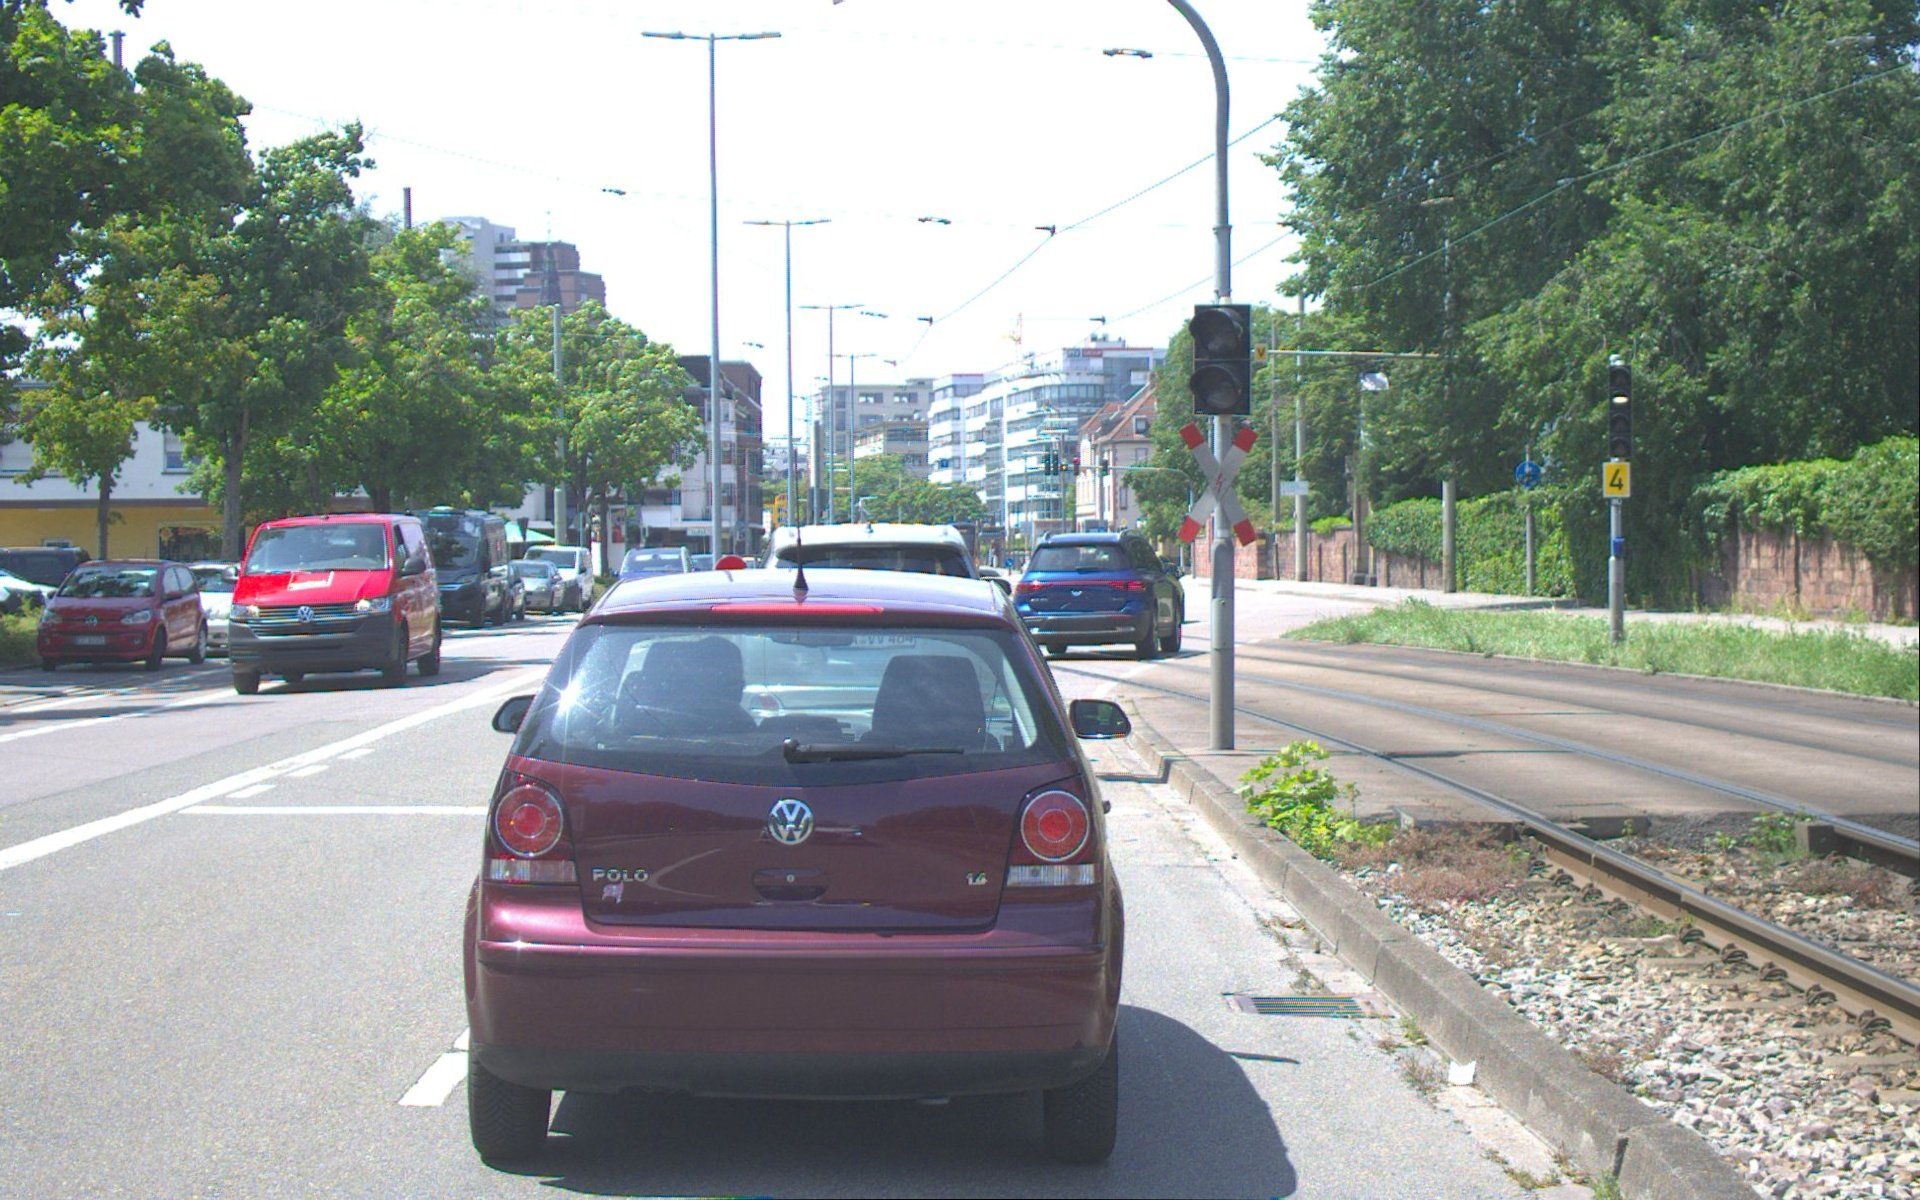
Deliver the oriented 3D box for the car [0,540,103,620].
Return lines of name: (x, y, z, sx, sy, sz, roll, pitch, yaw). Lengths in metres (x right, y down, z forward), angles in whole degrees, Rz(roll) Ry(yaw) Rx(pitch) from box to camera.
car: (-22.529, -0.455, 80.010, 4.718, 1.807, 1.797, -1, 1, -2)

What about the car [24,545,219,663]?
car: (-11.411, 0.035, 47.000, 1.672, 1.541, 3.727, 1, 0, 2)

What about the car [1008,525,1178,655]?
car: (1.809, -0.162, 45.563, 1.775, 1.625, 3.999, 1, 1, 9)

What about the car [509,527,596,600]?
car: (-11.783, -1.076, 99.726, 1.875, 1.958, 5.165, 3, 1, -1)

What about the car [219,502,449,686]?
car: (-7.102, -0.109, 39.464, 1.898, 1.919, 4.820, -2, 1, -2)

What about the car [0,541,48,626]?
car: (-22.379, -0.327, 74.580, 4.718, 1.807, 1.797, -1, 1, -2)

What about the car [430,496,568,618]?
car: (-10.812, -1.033, 81.092, 2.398, 2.647, 6.173, 3, 1, -1)

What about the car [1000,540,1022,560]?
car: (3.261, -3.192, 219.739, 1.354, 1.248, 2.972, 0, 1, 0)

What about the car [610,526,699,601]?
car: (-7.115, -0.871, 80.380, 1.737, 1.651, 4.067, -2, 1, -1)

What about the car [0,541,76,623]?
car: (-22.429, -0.389, 77.144, 4.718, 1.807, 1.797, -1, 1, -2)

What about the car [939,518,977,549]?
car: (-0.160, -4.172, 216.856, 1.918, 1.904, 4.572, -1, 1, -6)

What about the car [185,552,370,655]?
car: (-10.461, 0.018, 53.017, 1.719, 1.422, 4.771, -2, 1, 2)

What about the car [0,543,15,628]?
car: (-22.119, -0.264, 71.862, 4.209, 1.759, 1.857, -1, 1, -2)

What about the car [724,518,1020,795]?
car: (-0.580, 0.309, 23.012, 1.795, 1.677, 4.000, 0, 1, -1)

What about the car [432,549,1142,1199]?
car: (-0.439, 0.616, 9.849, 1.609, 1.493, 4.000, 0, 1, -1)

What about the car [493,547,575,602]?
car: (-11.617, -0.711, 93.912, 1.631, 1.415, 3.867, 2, 1, 2)
